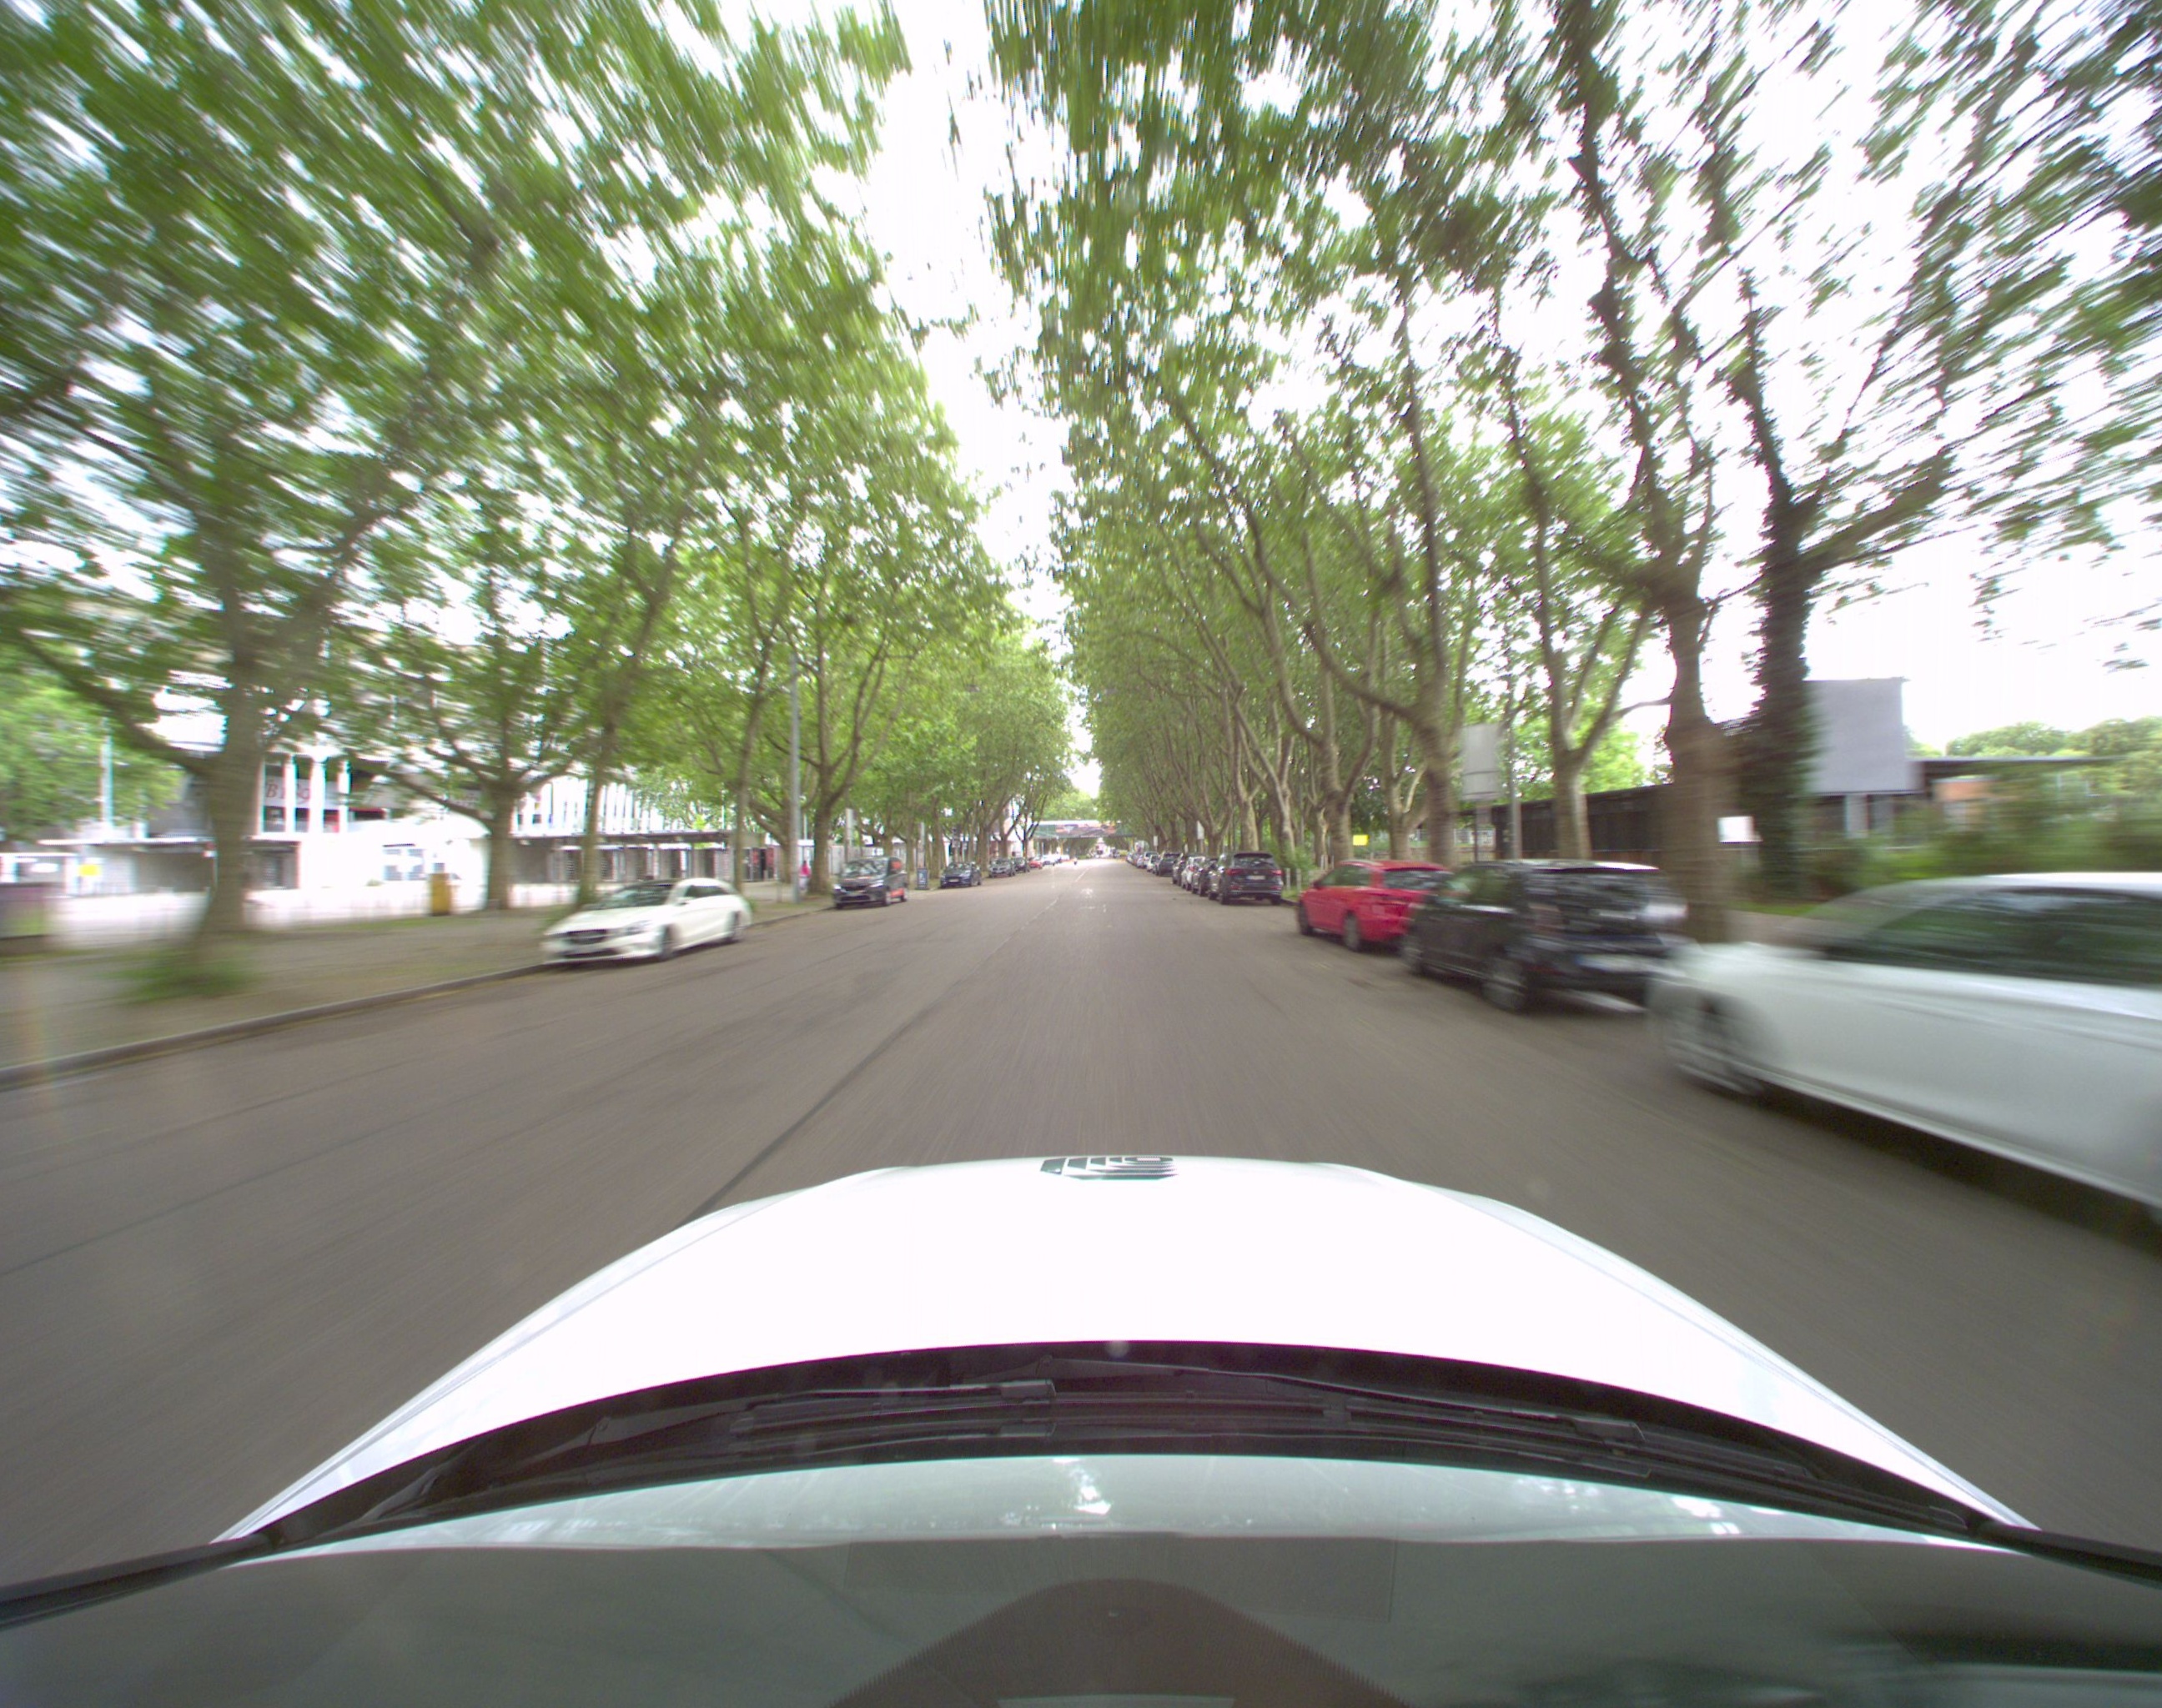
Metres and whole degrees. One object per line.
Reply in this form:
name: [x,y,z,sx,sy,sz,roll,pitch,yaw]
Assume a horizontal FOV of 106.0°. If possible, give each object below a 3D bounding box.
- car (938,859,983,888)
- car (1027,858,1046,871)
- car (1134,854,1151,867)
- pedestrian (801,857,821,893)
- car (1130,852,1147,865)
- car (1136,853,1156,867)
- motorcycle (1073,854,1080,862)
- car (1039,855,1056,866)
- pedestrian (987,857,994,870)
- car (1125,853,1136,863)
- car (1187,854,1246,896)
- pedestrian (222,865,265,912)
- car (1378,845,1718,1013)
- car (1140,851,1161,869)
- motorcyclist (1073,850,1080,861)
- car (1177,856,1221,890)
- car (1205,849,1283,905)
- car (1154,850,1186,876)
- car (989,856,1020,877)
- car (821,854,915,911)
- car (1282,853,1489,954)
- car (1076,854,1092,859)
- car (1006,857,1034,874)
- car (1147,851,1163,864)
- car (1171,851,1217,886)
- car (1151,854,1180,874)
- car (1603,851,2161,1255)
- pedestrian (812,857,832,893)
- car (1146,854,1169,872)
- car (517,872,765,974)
car: [-6.864,1.072,46.660,1.718,1.486,4.576,-1,0,2]
car: [-5.125,1.172,93.705,1.801,1.354,4.002,-1,0,2]
car: [7.382,0.793,98.722,1.850,1.481,4.178,-1,0,1]
pedestrian: [-13.480,1.037,40.607,0.570,1.742,0.771,-1,0,16]
car: [7.898,0.654,112.293,1.974,1.680,4.732,-1,-1,1]
car: [6.974,0.661,87.677,1.870,1.427,4.587,-1,0,1]
motorcycle: [-0.623,0.604,114.979,0.871,1.079,3.050,-1,0,-2]
car: [-4.826,0.885,118.424,2.065,1.563,4.758,-1,0,2]
pedestrian: [-11.030,1.146,99.325,0.588,1.620,0.794,-1,-1,11]
car: [9.155,0.715,151.252,1.840,1.783,5.213,0,0,2]
car: [5.144,0.748,31.396,1.662,1.509,4.355,1,0,2]
pedestrian: [-30.762,1.260,29.928,0.721,1.691,0.809,-1,0,5]
car: [4.952,0.669,9.382,1.723,1.470,4.083,1,0,3]
car: [6.959,0.609,81.835,1.896,1.739,4.508,-1,0,2]
motorcyclist: [-0.617,0.172,114.983,0.868,1.480,1.264,-1,0,-2]
car: [5.271,0.816,36.807,1.610,1.441,3.712,1,0,3]
car: [5.109,0.659,26.036,1.749,1.620,4.441,1,0,2]
car: [5.993,0.602,55.256,1.702,1.698,4.630,0,0,0]
car: [-6.027,0.976,64.474,1.871,1.527,4.153,-2,0,2]
car: [-7.393,0.938,28.800,1.942,1.750,4.639,-3,0,1]
car: [5.001,0.720,14.144,1.712,1.438,4.625,1,0,-2]
car: [0.919,0.777,251.704,4.681,1.584,1.865,-1,-1,2]
car: [-5.658,1.020,75.934,1.819,1.465,4.632,-2,0,4]
car: [9.521,0.463,105.270,1.796,1.555,4.001,-1,0,1]
car: [5.769,0.710,42.168,1.771,1.673,4.638,-1,0,1]
car: [6.279,0.750,61.132,1.702,1.415,4.360,0,0,-1]
car: [4.788,0.722,4.062,1.729,1.438,4.122,-1,0,0]
pedestrian: [-12.865,1.025,40.452,0.572,1.770,0.771,-1,0,16]
car: [6.371,0.721,68.087,1.701,1.427,3.891,0,0,2]
car: [-7.965,1.156,15.400,1.897,1.403,4.753,-4,0,2]
